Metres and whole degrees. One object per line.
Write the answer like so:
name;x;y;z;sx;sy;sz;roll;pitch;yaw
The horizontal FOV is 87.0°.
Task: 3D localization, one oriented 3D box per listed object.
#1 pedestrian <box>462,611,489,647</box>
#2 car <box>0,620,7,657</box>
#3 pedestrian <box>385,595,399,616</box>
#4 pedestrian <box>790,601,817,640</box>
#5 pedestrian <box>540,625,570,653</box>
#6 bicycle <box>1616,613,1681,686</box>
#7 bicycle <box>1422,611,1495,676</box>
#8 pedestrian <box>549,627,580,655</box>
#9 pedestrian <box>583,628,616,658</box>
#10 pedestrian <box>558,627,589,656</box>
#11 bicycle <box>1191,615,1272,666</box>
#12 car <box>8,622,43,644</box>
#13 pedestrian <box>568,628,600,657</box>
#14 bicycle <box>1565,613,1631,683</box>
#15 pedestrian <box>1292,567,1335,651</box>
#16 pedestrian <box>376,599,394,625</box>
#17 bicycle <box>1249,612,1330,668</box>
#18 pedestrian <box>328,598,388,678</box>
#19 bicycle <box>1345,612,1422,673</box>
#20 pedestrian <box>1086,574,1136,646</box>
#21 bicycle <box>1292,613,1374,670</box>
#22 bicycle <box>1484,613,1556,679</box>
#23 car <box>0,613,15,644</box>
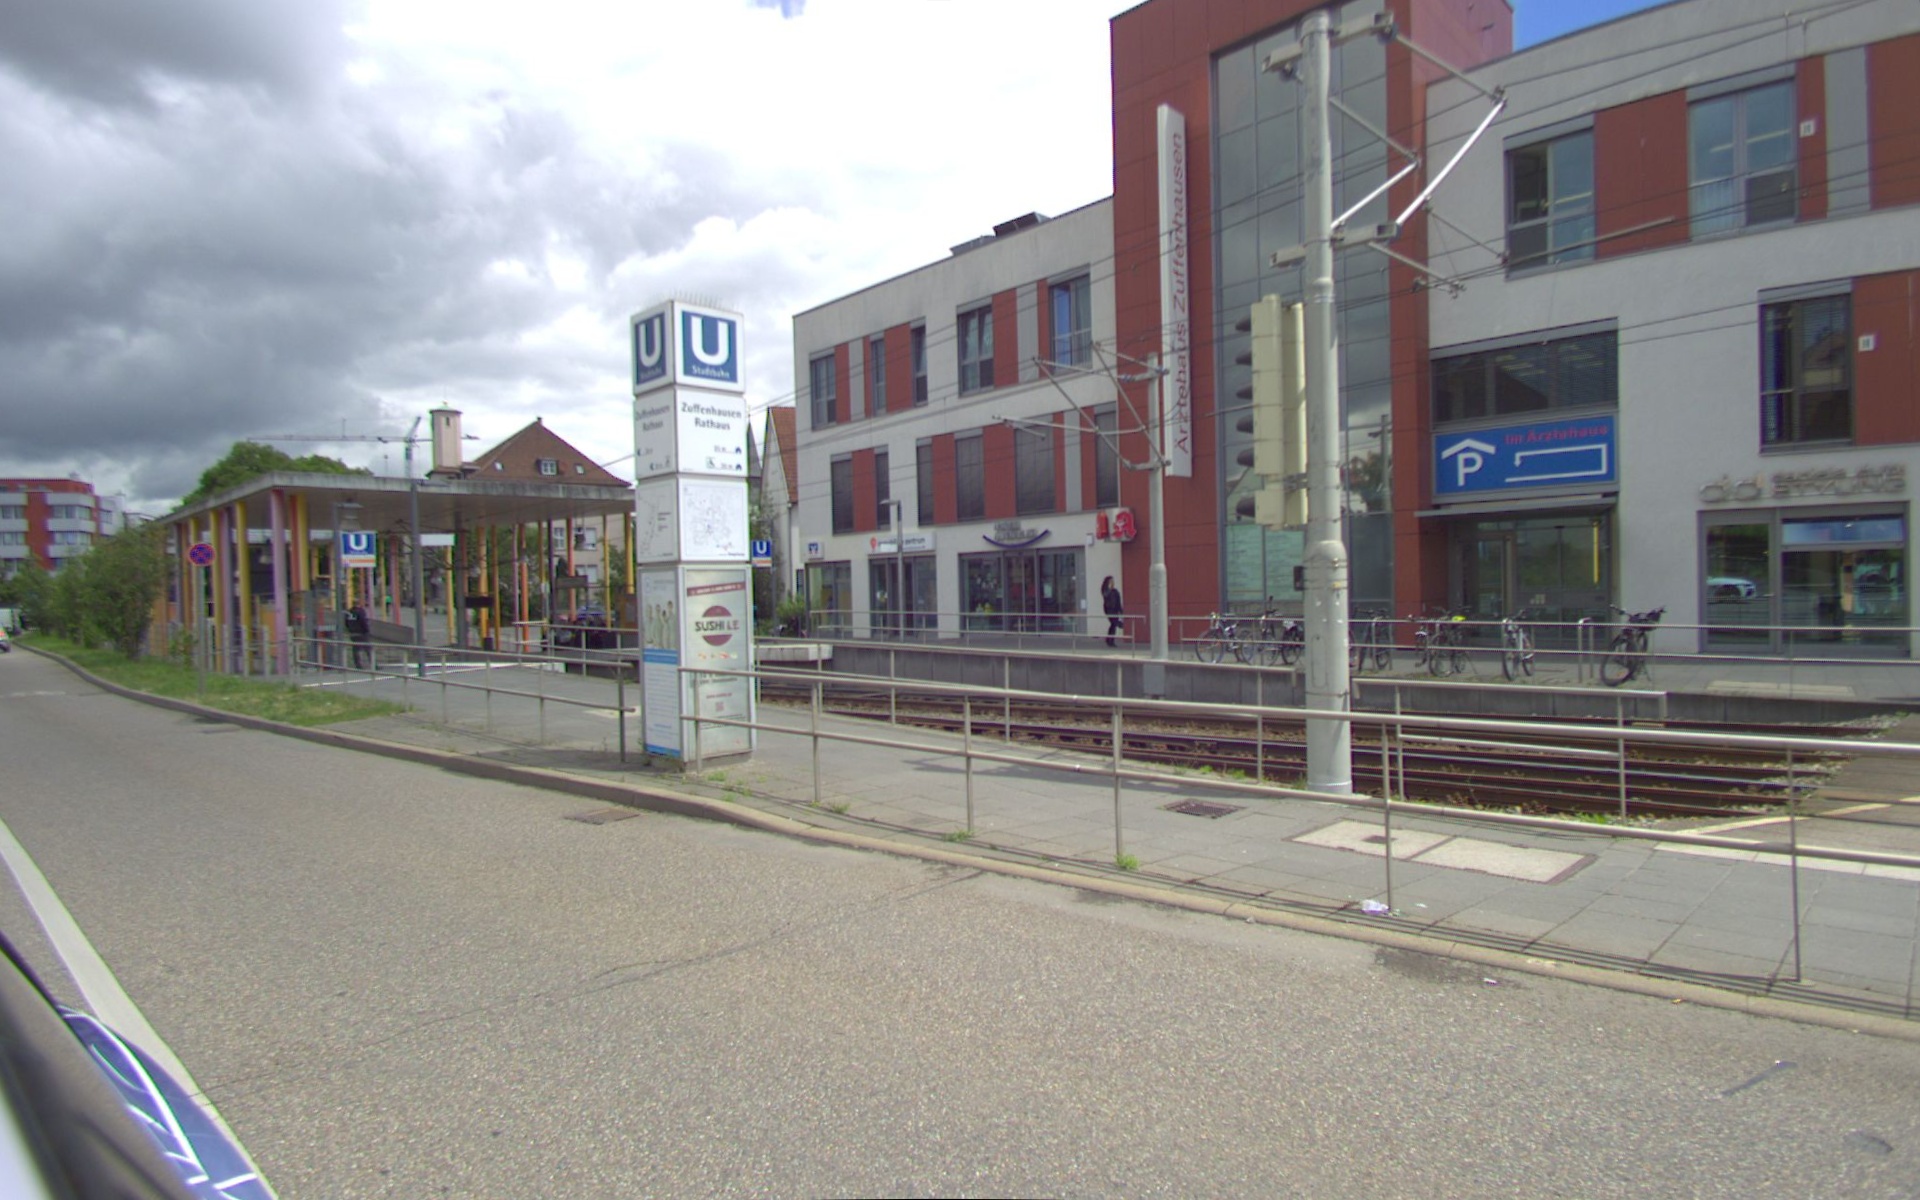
pedestrian;-28.420;1.688;59.356;1.111;2.029;1.180;0;-1;-41
car;-42.845;1.727;44.216;3.949;1.548;1.566;0;3;45
pedestrian;-54.462;0.530;97.031;1.107;2.029;1.665;-1;-1;-29
pedestrian;-8.120;1.057;52.616;1.088;1.983;0.866;0;-1;-39
pedestrian;-17.223;1.650;43.052;0.930;1.143;0.886;0;-1;-44
bicycle;10.088;0.697;14.811;1.715;0.959;0.428;-1;0;-43
bicycle;8.179;0.688;16.586;1.836;0.970;0.455;-1;0;-43
pedestrian;-16.521;1.703;42.298;0.930;1.143;0.886;0;-1;-44
pedestrian;-14.368;1.695;40.347;0.930;1.143;0.886;0;-1;-44
pedestrian;-15.871;1.700;41.543;0.930;1.143;0.886;0;-1;-44
bicycle;5.183;0.755;19.253;1.833;0.888;0.455;-1;0;-38
car;-77.058;2.681;83.518;1.839;1.719;4.008;0;0;-39
pedestrian;-15.190;1.697;40.869;0.930;1.143;0.886;0;-1;-44
bicycle;9.623;0.697;15.242;1.715;0.965;0.428;-1;0;-43
pedestrian;7.943;0.189;22.746;0.857;1.859;0.875;0;1;16
pedestrian;-45.493;0.911;80.034;1.111;2.029;0.816;0;-1;-41
bicycle;6.037;0.717;18.516;1.834;0.939;0.455;-1;0;-38
pedestrian;-14.935;0.920;25.107;1.089;1.928;0.865;1;-1;-44
bicycle;7.257;0.700;17.287;1.835;0.946;0.455;-1;0;-42
pedestrian;3.685;0.232;24.683;0.776;1.711;0.937;0;-1;-39
bicycle;6.618;0.714;17.923;1.834;0.929;0.455;-1;0;-38
bicycle;8.827;0.698;15.914;1.836;0.942;0.455;-1;0;-43
car;-68.280;2.003;71.468;1.968;2.092;4.007;0;0;-39
